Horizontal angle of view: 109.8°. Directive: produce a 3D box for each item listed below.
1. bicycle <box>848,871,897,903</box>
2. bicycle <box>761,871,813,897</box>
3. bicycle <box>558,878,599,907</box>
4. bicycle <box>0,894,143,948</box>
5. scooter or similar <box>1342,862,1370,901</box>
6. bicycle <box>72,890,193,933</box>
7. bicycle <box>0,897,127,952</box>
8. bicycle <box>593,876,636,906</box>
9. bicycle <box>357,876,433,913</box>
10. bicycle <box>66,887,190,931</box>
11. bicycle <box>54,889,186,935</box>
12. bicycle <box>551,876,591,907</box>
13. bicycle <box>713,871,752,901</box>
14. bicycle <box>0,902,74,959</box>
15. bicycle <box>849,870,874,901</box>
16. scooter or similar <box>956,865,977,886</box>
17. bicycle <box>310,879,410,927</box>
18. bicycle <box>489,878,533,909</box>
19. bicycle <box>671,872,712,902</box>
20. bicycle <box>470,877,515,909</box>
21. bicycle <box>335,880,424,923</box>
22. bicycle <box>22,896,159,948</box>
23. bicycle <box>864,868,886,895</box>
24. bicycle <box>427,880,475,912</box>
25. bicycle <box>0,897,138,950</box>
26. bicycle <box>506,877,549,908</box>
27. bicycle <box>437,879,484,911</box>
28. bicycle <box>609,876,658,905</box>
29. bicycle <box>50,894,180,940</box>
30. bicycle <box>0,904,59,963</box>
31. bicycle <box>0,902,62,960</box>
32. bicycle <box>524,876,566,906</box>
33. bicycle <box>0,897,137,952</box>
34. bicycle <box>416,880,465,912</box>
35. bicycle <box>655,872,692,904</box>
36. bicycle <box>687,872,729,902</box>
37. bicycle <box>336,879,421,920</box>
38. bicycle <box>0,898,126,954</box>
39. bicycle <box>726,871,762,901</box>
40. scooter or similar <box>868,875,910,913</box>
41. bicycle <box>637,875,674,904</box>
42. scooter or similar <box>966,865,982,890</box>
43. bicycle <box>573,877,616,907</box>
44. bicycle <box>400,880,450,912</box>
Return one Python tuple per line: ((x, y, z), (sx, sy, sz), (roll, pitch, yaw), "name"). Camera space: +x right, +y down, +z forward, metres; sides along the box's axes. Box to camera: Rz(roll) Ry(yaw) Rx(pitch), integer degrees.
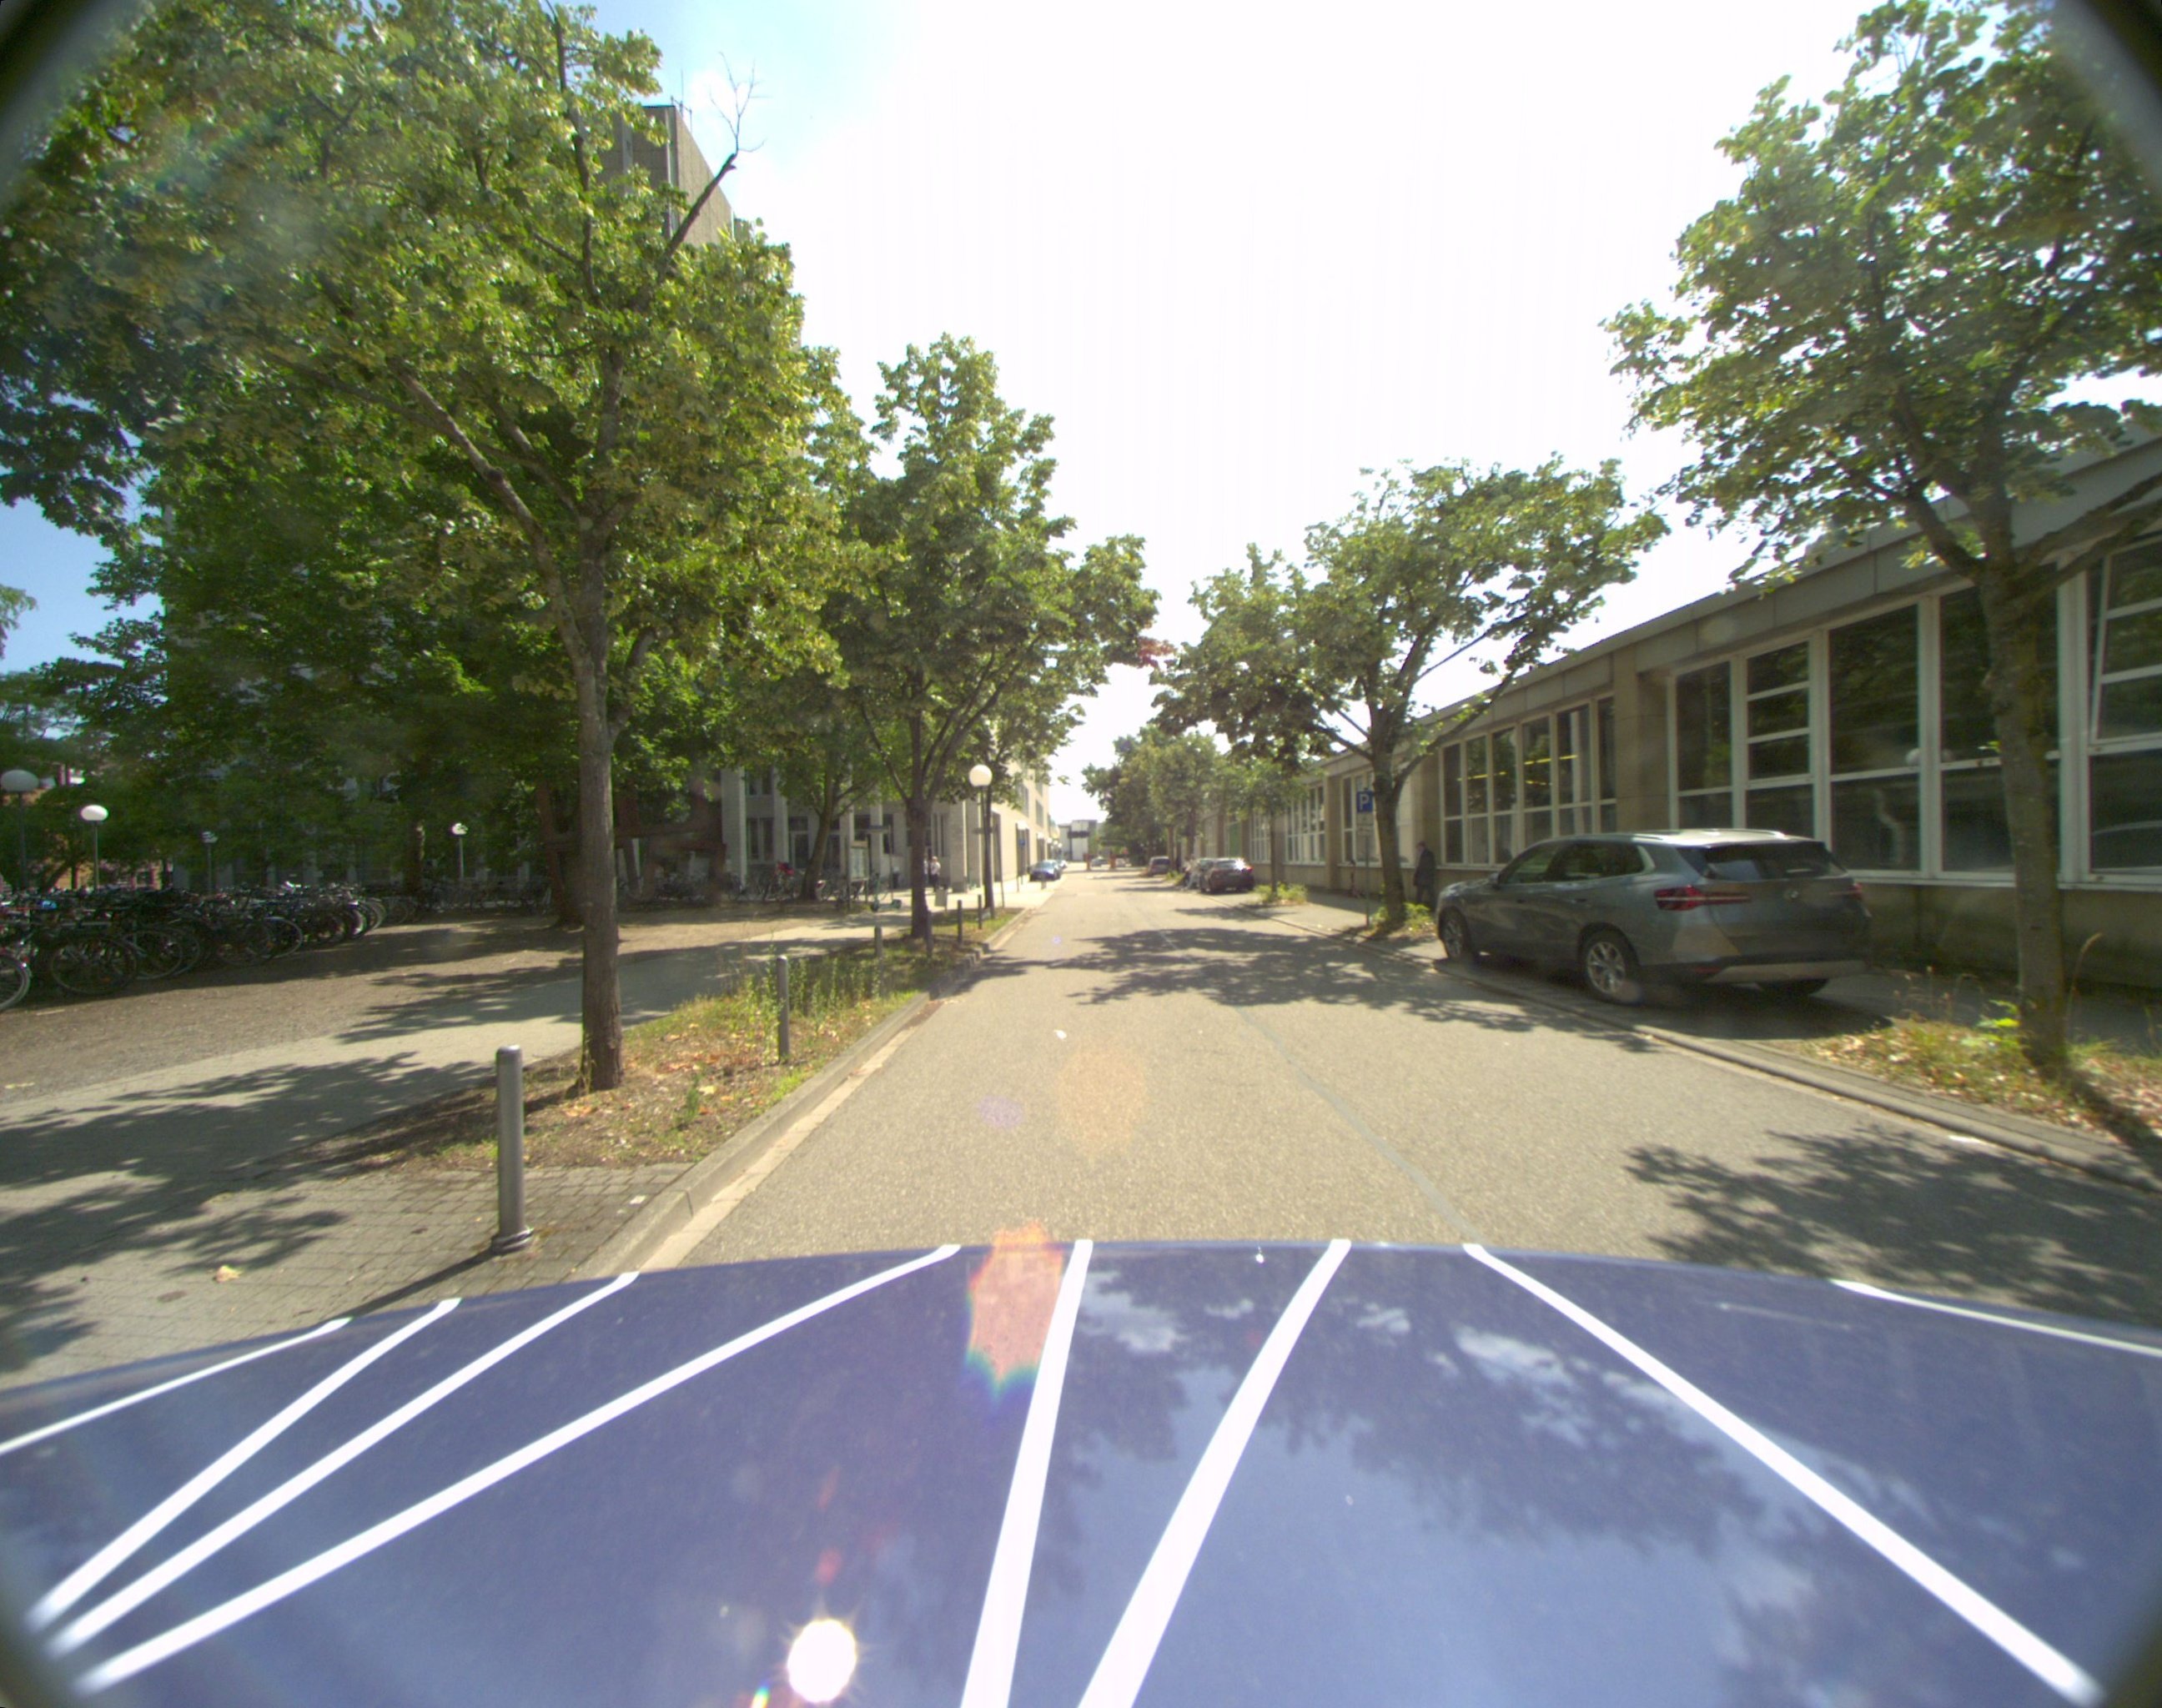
((-7.757, 1.211, 28.292), (0.604, 1.135, 1.790), (1, 1, 33), "bicycle")
((-12.936, 1.304, 33.462), (1.929, 1.036, 0.818), (-1, 4, 7), "bicycle")
((-19.155, 1.450, 29.009), (0.501, 1.041, 1.688), (-4, -1, -4), "bicycle")
((-20.757, 1.345, 15.572), (0.377, 0.973, 1.908), (0, 0, 43), "bicycle")
((8.889, 0.871, 24.607), (0.383, 1.200, 1.246), (-3, -1, 0), "scooter or similar")
((-24.284, 1.453, 19.507), (0.477, 0.973, 1.908), (0, 0, 42), "bicycle")
((-20.244, 1.375, 14.895), (0.377, 0.973, 1.908), (0, 0, 41), "bicycle")
((-17.857, 1.401, 29.119), (0.617, 1.041, 1.688), (-4, -1, -4), "bicycle")
((-22.969, 1.347, 25.486), (1.849, 1.163, 0.412), (-1, 0, -38), "bicycle")
((-23.910, 1.359, 19.125), (0.477, 0.973, 1.908), (0, 0, 42), "bicycle")
((-23.033, 1.372, 18.261), (1.907, 0.973, 0.477), (0, 0, -37), "bicycle")
((-19.752, 1.448, 29.457), (0.454, 1.123, 1.688), (-4, -1, -4), "bicycle")
((-13.416, 1.239, 29.319), (0.565, 1.118, 1.698), (0, -2, 6), "bicycle")
((-19.520, 1.384, 13.536), (1.907, 0.973, 0.378), (0, 0, -29), "bicycle")
((-8.395, 1.191, 29.049), (0.561, 1.135, 1.489), (0, 1, -2), "bicycle")
((-7.117, 1.317, 47.009), (0.566, 1.205, 1.506), (-3, 3, -40), "scooter or similar")
((-18.672, 1.252, 19.729), (1.849, 1.163, 0.412), (-1, 0, -38), "bicycle")
((-21.834, 1.489, 29.158), (0.454, 1.123, 1.688), (-4, -1, -4), "bicycle")
((-14.966, 1.261, 29.264), (0.627, 1.143, 1.697), (0, -2, 2), "bicycle")
((-22.405, 1.470, 28.973), (0.454, 1.123, 1.688), (-4, -1, -4), "bicycle")
((-20.537, 1.386, 22.287), (1.848, 1.163, 0.435), (-1, 0, -35), "bicycle")
((-21.648, 1.470, 16.658), (1.746, 1.017, 0.477), (0, 0, -40), "bicycle")
((-10.057, 1.313, 37.156), (0.531, 1.235, 1.829), (-1, 1, 0), "bicycle")
((-24.034, 1.587, 29.007), (0.454, 1.123, 1.688), (-4, -1, -4), "bicycle")
((-21.634, 1.464, 16.284), (1.746, 1.017, 0.292), (0, 0, -40), "bicycle")
((-21.250, 1.452, 29.204), (0.454, 1.123, 1.688), (-4, -1, -4), "bicycle")
((-23.520, 1.544, 28.843), (0.454, 1.123, 1.688), (-4, -1, -4), "bicycle")
((-17.120, 1.382, 29.124), (0.617, 1.041, 1.698), (-4, -1, 9), "bicycle")
((-23.465, 1.510, 18.511), (1.908, 0.973, 0.477), (0, 0, -43), "bicycle")
((-19.030, 1.375, 12.954), (1.907, 0.973, 0.378), (0, 0, -29), "bicycle")
((-19.363, 1.369, 13.243), (1.907, 0.973, 0.378), (0, 0, -29), "bicycle")
((-20.603, 1.407, 29.250), (0.454, 1.123, 1.688), (-4, -1, -4), "bicycle")
((-21.364, 1.465, 16.025), (1.746, 1.017, 0.477), (0, 0, -40), "bicycle")
((-24.570, 1.594, 29.174), (0.478, 1.123, 1.688), (-4, -1, -4), "bicycle")
((-15.647, 1.292, 29.218), (0.628, 1.143, 1.695), (-4, -1, -8), "bicycle")
((-14.258, 1.251, 29.068), (0.627, 1.118, 1.698), (0, -2, 6), "bicycle")
((-21.221, 1.361, 23.003), (1.849, 1.163, 0.412), (-1, 0, -38), "bicycle")
((-19.901, 1.380, 14.605), (0.377, 0.973, 1.908), (0, 0, 41), "bicycle")
((-12.913, 1.220, 29.154), (0.481, 1.118, 1.698), (0, -2, 6), "bicycle")
((-5.856, 1.211, 23.269), (0.496, 1.107, 1.365), (-1, -1, 25), "scooter or similar")
((-16.309, 1.334, 29.154), (0.568, 1.041, 1.696), (-4, -1, -7), "bicycle")
((-5.512, 1.208, 39.244), (0.564, 1.204, 1.510), (1, 0, 0), "scooter or similar")
((-18.575, 1.432, 29.045), (0.617, 1.041, 1.688), (-4, -1, -4), "bicycle")
((-25.133, 1.597, 29.152), (0.478, 1.123, 1.688), (-4, -1, -4), "bicycle")
